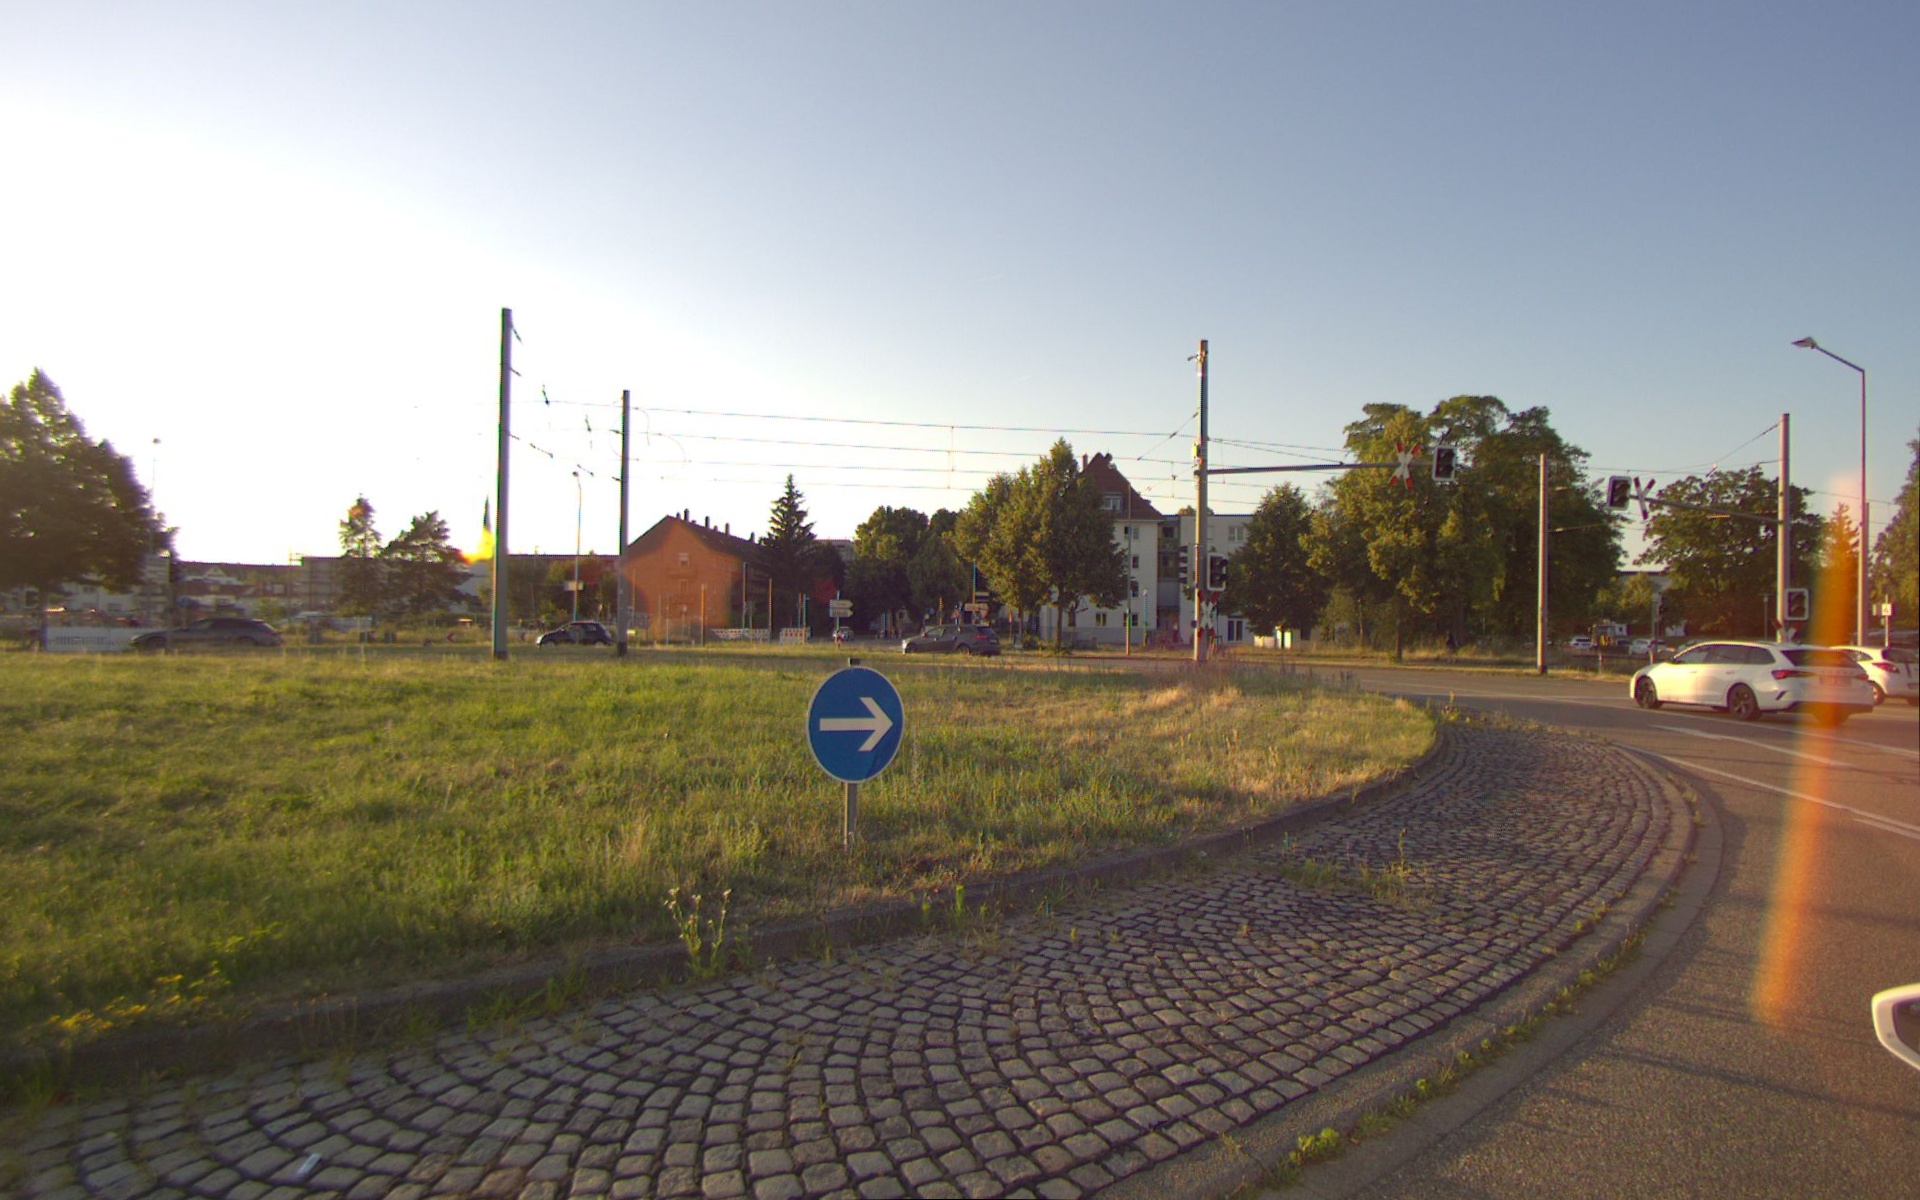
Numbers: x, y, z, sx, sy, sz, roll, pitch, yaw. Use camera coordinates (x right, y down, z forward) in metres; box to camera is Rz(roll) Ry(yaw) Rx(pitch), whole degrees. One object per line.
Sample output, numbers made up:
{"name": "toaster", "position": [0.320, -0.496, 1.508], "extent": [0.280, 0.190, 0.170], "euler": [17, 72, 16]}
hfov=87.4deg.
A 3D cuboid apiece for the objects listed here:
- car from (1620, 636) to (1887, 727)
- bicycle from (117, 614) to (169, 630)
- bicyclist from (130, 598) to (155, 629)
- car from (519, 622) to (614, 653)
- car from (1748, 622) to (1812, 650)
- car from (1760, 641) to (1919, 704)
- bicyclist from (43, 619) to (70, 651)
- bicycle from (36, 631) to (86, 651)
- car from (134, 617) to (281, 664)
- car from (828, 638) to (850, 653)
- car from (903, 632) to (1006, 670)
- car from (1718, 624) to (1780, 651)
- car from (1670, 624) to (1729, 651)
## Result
{"name": "car", "position": [15.072, 1.477, 19.471], "extent": [1.693, 1.468, 4.551], "euler": [0, -1, 2]}
{"name": "bicycle", "position": [-43.734, 1.184, 53.790], "extent": [2.102, 0.857, 0.510], "euler": [0, -1, -19]}
{"name": "bicyclist", "position": [-43.708, 0.734, 53.706], "extent": [0.786, 1.655, 0.693], "euler": [0, -1, -18]}
{"name": "car", "position": [-19.178, 1.829, 49.136], "extent": [4.062, 1.465, 1.748], "euler": [0, -1, -12]}
{"name": "car", "position": [65.828, 2.863, 80.713], "extent": [1.960, 2.126, 4.001], "euler": [1, -1, 2]}
{"name": "car", "position": [23.592, 1.890, 26.770], "extent": [1.525, 1.462, 3.483], "euler": [2, -1, -7]}
{"name": "bicyclist", "position": [-46.741, 1.795, 51.971], "extent": [0.800, 1.662, 0.814], "euler": [0, -1, 26]}
{"name": "bicycle", "position": [-46.673, 2.100, 52.162], "extent": [0.539, 0.993, 1.842], "euler": [0, -1, 26]}
{"name": "car", "position": [-29.804, 1.582, 39.995], "extent": [4.548, 1.771, 1.736], "euler": [1, -1, -33]}
{"name": "car", "position": [-12.676, 4.772, 105.415], "extent": [1.596, 1.506, 4.001], "euler": [1, -1, 2]}
{"name": "car", "position": [-0.252, 2.109, 41.959], "extent": [4.065, 1.486, 1.746], "euler": [-1, -1, 34]}
{"name": "car", "position": [63.294, 2.993, 80.634], "extent": [1.960, 2.126, 4.001], "euler": [1, -1, 2]}
{"name": "car", "position": [59.672, 3.009, 81.169], "extent": [1.960, 2.126, 4.001], "euler": [1, -1, 2]}
